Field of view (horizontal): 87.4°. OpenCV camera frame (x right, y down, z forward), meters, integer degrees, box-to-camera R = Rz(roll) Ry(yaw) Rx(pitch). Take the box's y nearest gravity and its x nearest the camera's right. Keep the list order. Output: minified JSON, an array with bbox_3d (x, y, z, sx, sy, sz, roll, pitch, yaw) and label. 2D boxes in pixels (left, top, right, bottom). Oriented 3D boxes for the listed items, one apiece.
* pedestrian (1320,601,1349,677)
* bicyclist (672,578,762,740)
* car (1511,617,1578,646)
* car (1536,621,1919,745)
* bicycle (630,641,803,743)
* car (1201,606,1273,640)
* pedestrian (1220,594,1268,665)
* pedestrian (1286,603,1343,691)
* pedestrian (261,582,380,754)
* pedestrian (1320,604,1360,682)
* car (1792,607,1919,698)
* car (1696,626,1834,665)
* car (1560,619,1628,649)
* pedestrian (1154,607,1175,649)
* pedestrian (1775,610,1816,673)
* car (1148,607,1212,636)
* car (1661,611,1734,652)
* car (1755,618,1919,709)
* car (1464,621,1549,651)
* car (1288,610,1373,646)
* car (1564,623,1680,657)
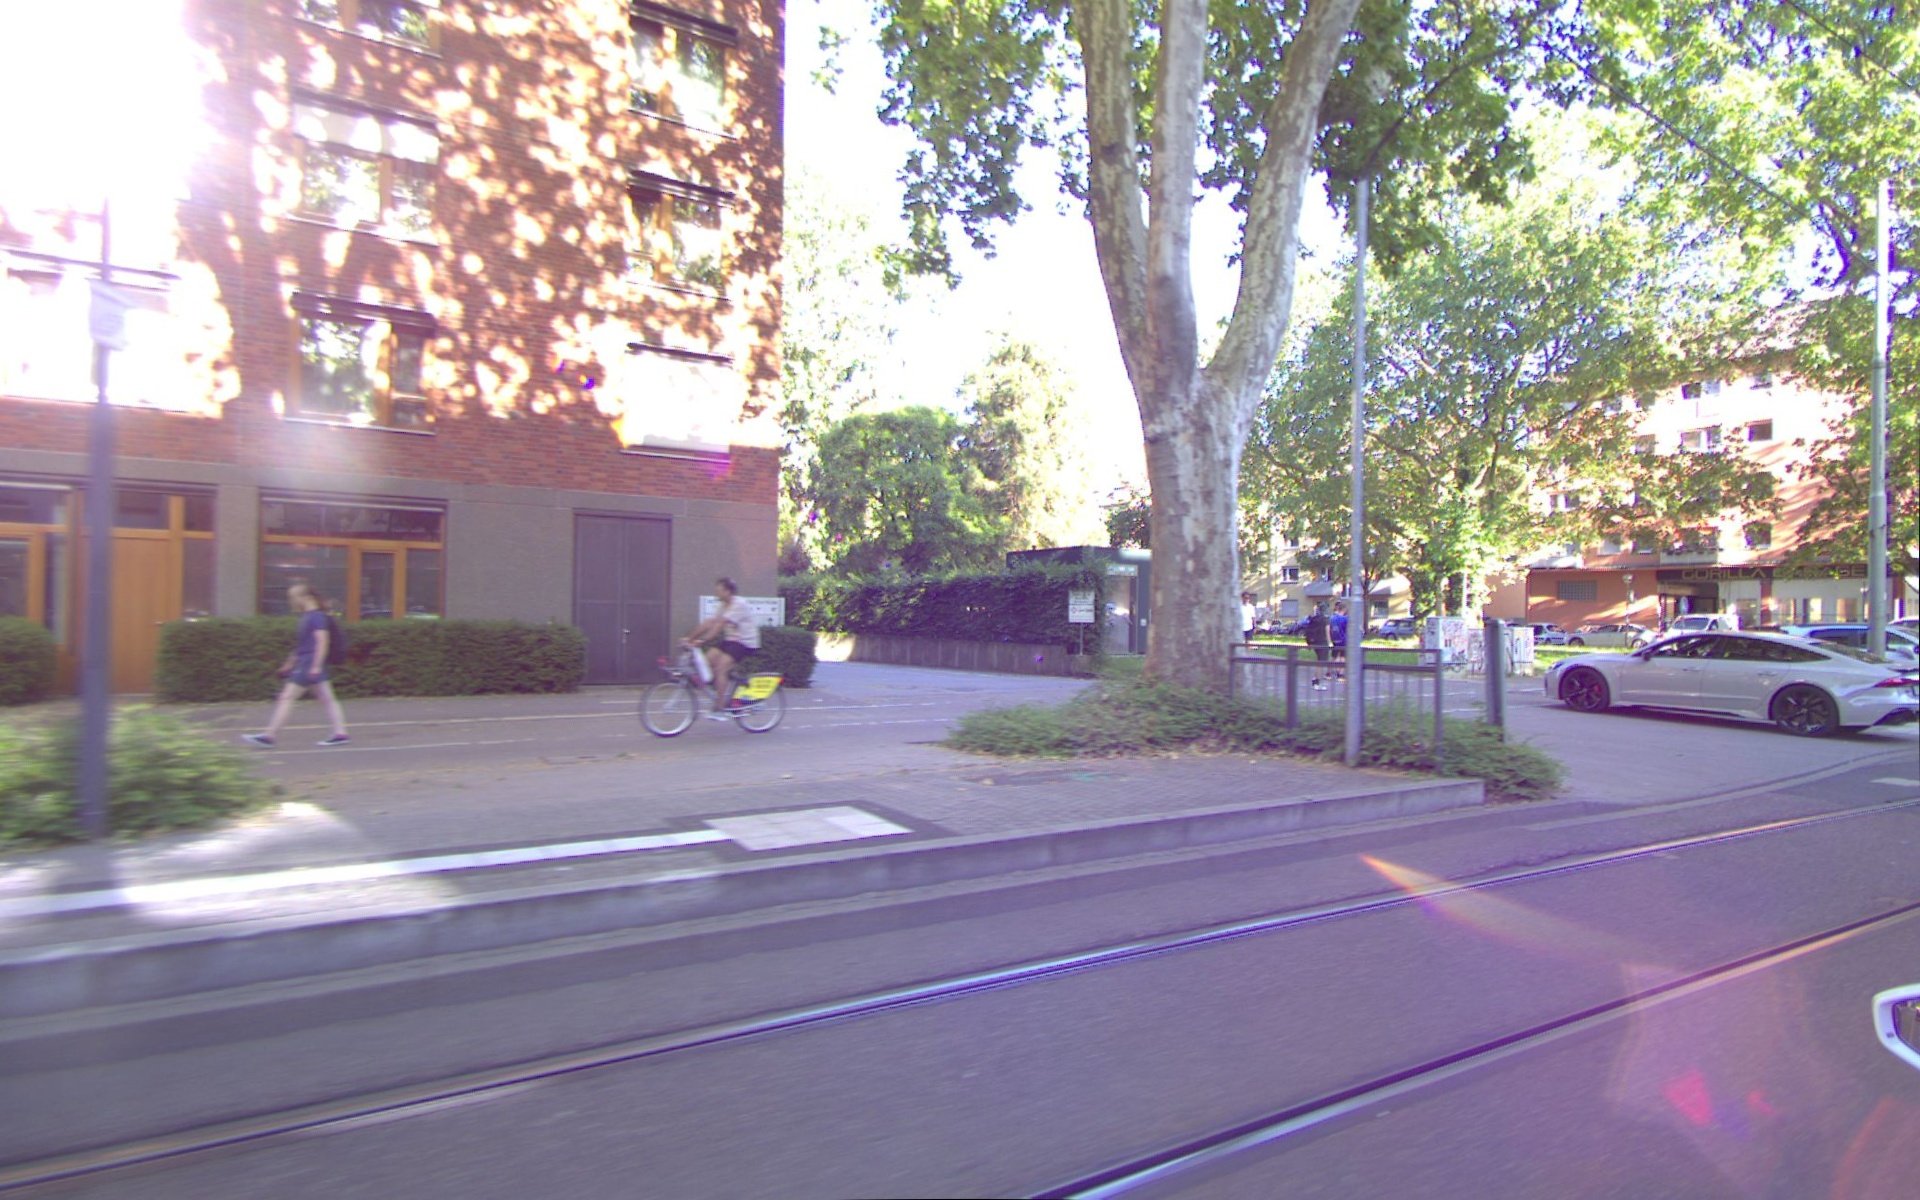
[{"bbox_3d":[8.717,0.907,23.394,0.523,1.728,0.591,2,0,28],"label":"pedestrian"},{"bbox_3d":[-2.827,0.665,11.687,0.828,1.811,0.697,1,0,-29],"label":"bicyclist"},{"bbox_3d":[35.110,1.883,60.297,4.444,1.639,1.930,2,0,-38],"label":"car"},{"bbox_3d":[11.933,1.149,15.673,1.935,1.480,4.734,2,0,-34],"label":"car"},{"bbox_3d":[-2.824,1.043,11.700,1.817,1.078,0.712,2,0,-29],"label":"bicycle"},{"bbox_3d":[19.470,1.620,70.677,2.022,2.227,4.702,2,0,-33],"label":"car"},{"bbox_3d":[7.242,0.743,25.632,0.898,1.760,0.845,1,0,-4],"label":"pedestrian"},{"bbox_3d":[7.084,0.928,20.086,0.770,1.695,0.706,1,0,-31],"label":"pedestrian"},{"bbox_3d":[-6.602,0.677,10.426,0.957,1.694,0.735,1,0,-29],"label":"pedestrian"},{"bbox_3d":[8.430,0.951,22.261,0.685,1.681,0.561,2,0,34],"label":"pedestrian"},{"bbox_3d":[20.893,1.138,21.375,1.916,1.858,4.547,2,0,-31],"label":"car"},{"bbox_3d":[35.958,1.998,44.968,1.842,1.509,4.496,2,0,-35],"label":"car"},{"bbox_3d":[36.735,1.967,58.154,4.444,1.639,1.930,2,0,-38],"label":"car"},{"bbox_3d":[8.431,1.158,41.377,0.697,1.695,0.779,1,0,4],"label":"pedestrian"},{"bbox_3d":[24.803,1.222,29.822,0.741,1.833,0.642,1,0,-25],"label":"pedestrian"},{"bbox_3d":[16.487,1.589,75.481,1.979,2.040,4.702,2,0,-33],"label":"car"},{"bbox_3d":[39.000,1.658,53.101,4.880,2.030,1.977,2,0,-40],"label":"car"},{"bbox_3d":[18.842,1.260,20.179,1.881,1.668,4.117,2,0,-31],"label":"car"},{"bbox_3d":[29.457,1.919,54.194,1.672,1.469,3.683,2,0,-35],"label":"car"},{"bbox_3d":[23.348,1.745,63.434,1.980,2.040,4.699,2,0,-35],"label":"car"},{"bbox_3d":[32.533,1.944,49.456,1.808,1.469,4.434,2,0,-38],"label":"car"}]
